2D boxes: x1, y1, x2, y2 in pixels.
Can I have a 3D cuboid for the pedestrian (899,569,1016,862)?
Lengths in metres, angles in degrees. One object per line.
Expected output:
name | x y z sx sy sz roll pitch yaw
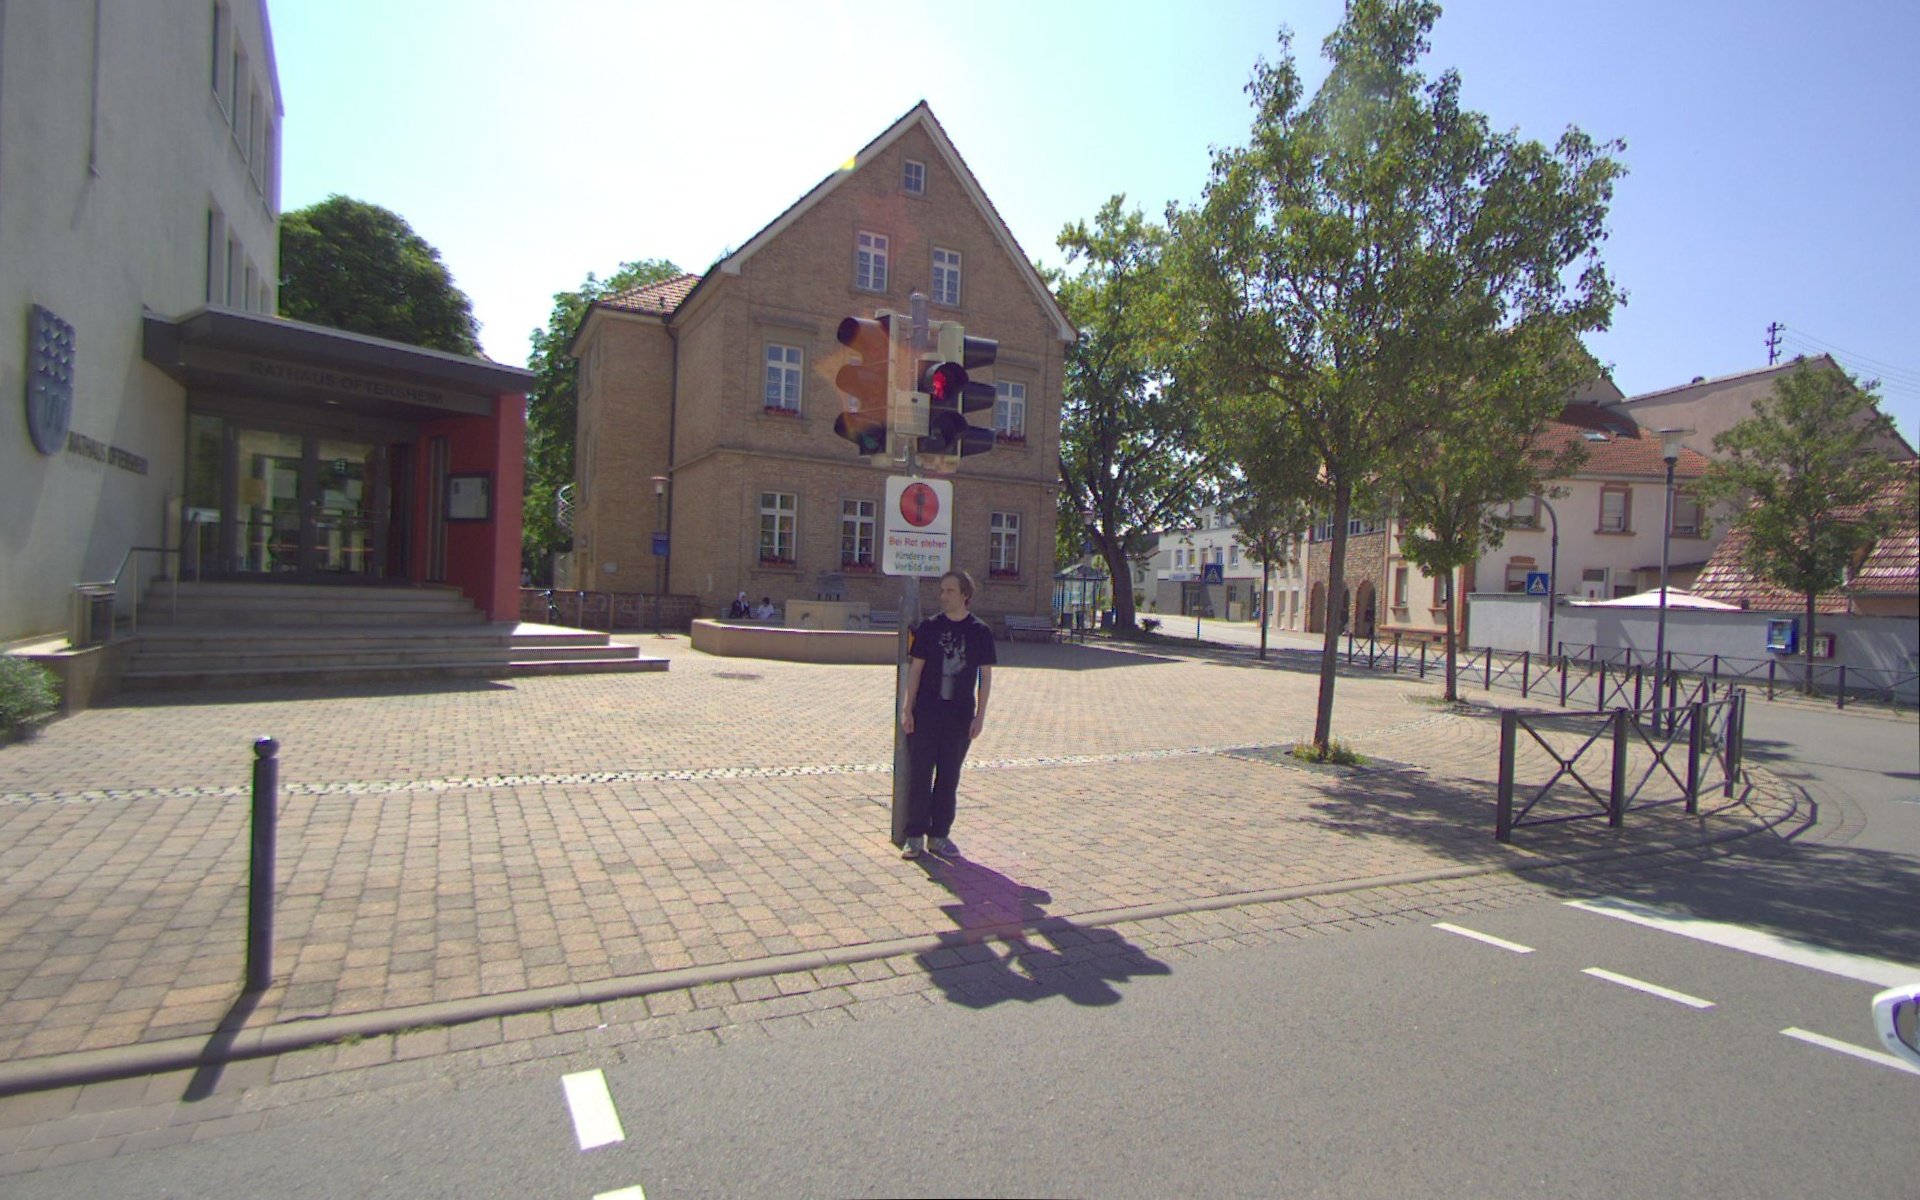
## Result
pedestrian | -0.001 0.660 6.019 0.546 1.640 0.550 3 0 7

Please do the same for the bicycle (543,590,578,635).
bicycle | -10.429 0.311 26.194 0.573 1.019 1.939 2 2 -29

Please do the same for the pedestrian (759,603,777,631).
pedestrian | -5.065 0.449 26.506 0.287 0.742 0.353 2 0 -44

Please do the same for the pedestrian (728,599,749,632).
pedestrian | -5.746 0.407 26.050 0.365 0.828 0.357 2 0 -44
